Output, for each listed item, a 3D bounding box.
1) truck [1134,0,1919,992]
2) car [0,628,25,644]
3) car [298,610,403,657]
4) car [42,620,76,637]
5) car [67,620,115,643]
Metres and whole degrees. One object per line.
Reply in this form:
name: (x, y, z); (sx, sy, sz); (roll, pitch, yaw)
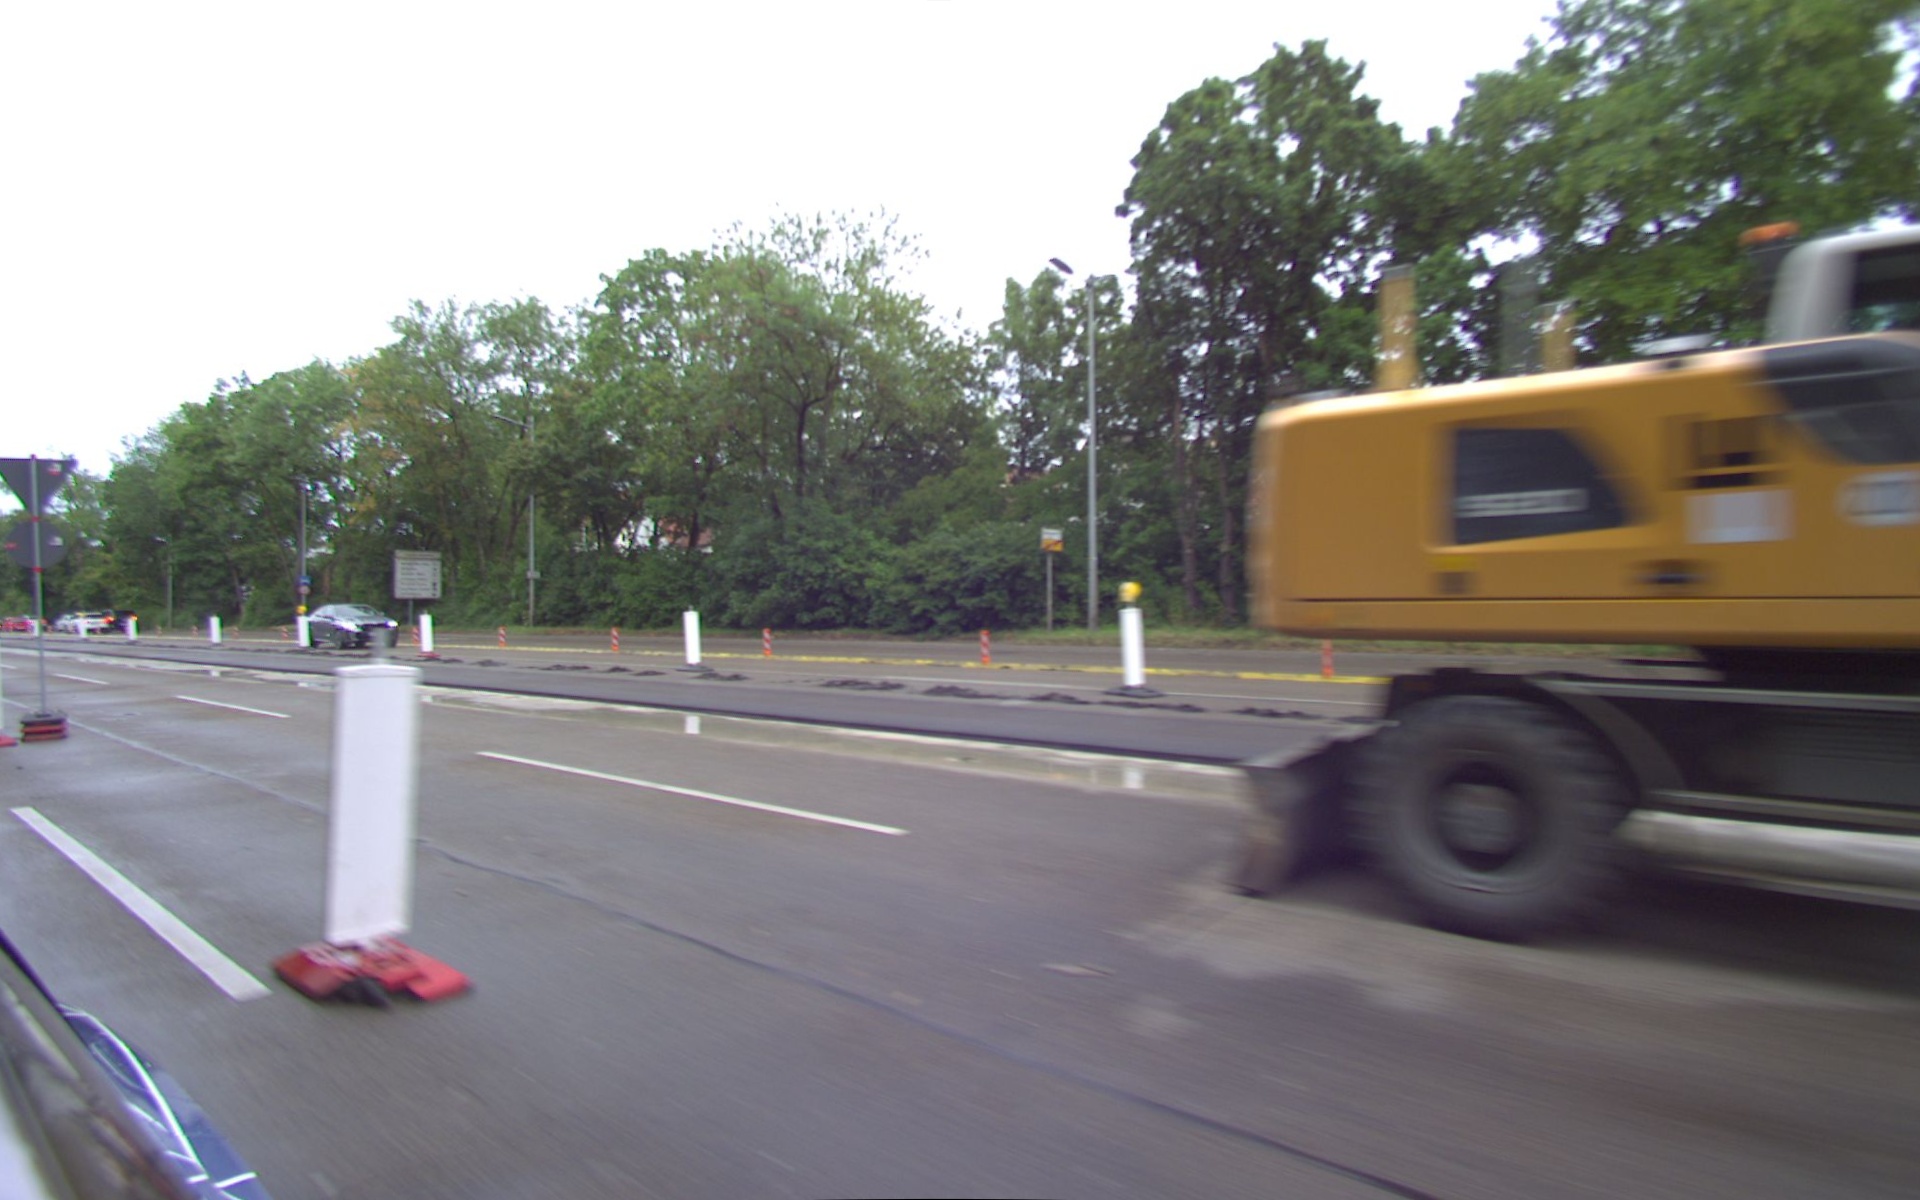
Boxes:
truck: (6.047, -0.919, 2.957); (10.736, 4.291, 2.871); (-1, 0, 37)
car: (-86.928, 3.274, 92.462); (4.008, 1.411, 1.663); (-1, 0, 39)
car: (-23.293, 1.242, 38.598); (4.808, 1.641, 1.973); (-1, 0, 40)
car: (-81.109, 2.549, 91.100); (4.144, 1.508, 1.663); (-1, -2, 39)
car: (-67.287, 2.391, 78.337); (4.887, 1.674, 1.872); (-1, 0, 38)
